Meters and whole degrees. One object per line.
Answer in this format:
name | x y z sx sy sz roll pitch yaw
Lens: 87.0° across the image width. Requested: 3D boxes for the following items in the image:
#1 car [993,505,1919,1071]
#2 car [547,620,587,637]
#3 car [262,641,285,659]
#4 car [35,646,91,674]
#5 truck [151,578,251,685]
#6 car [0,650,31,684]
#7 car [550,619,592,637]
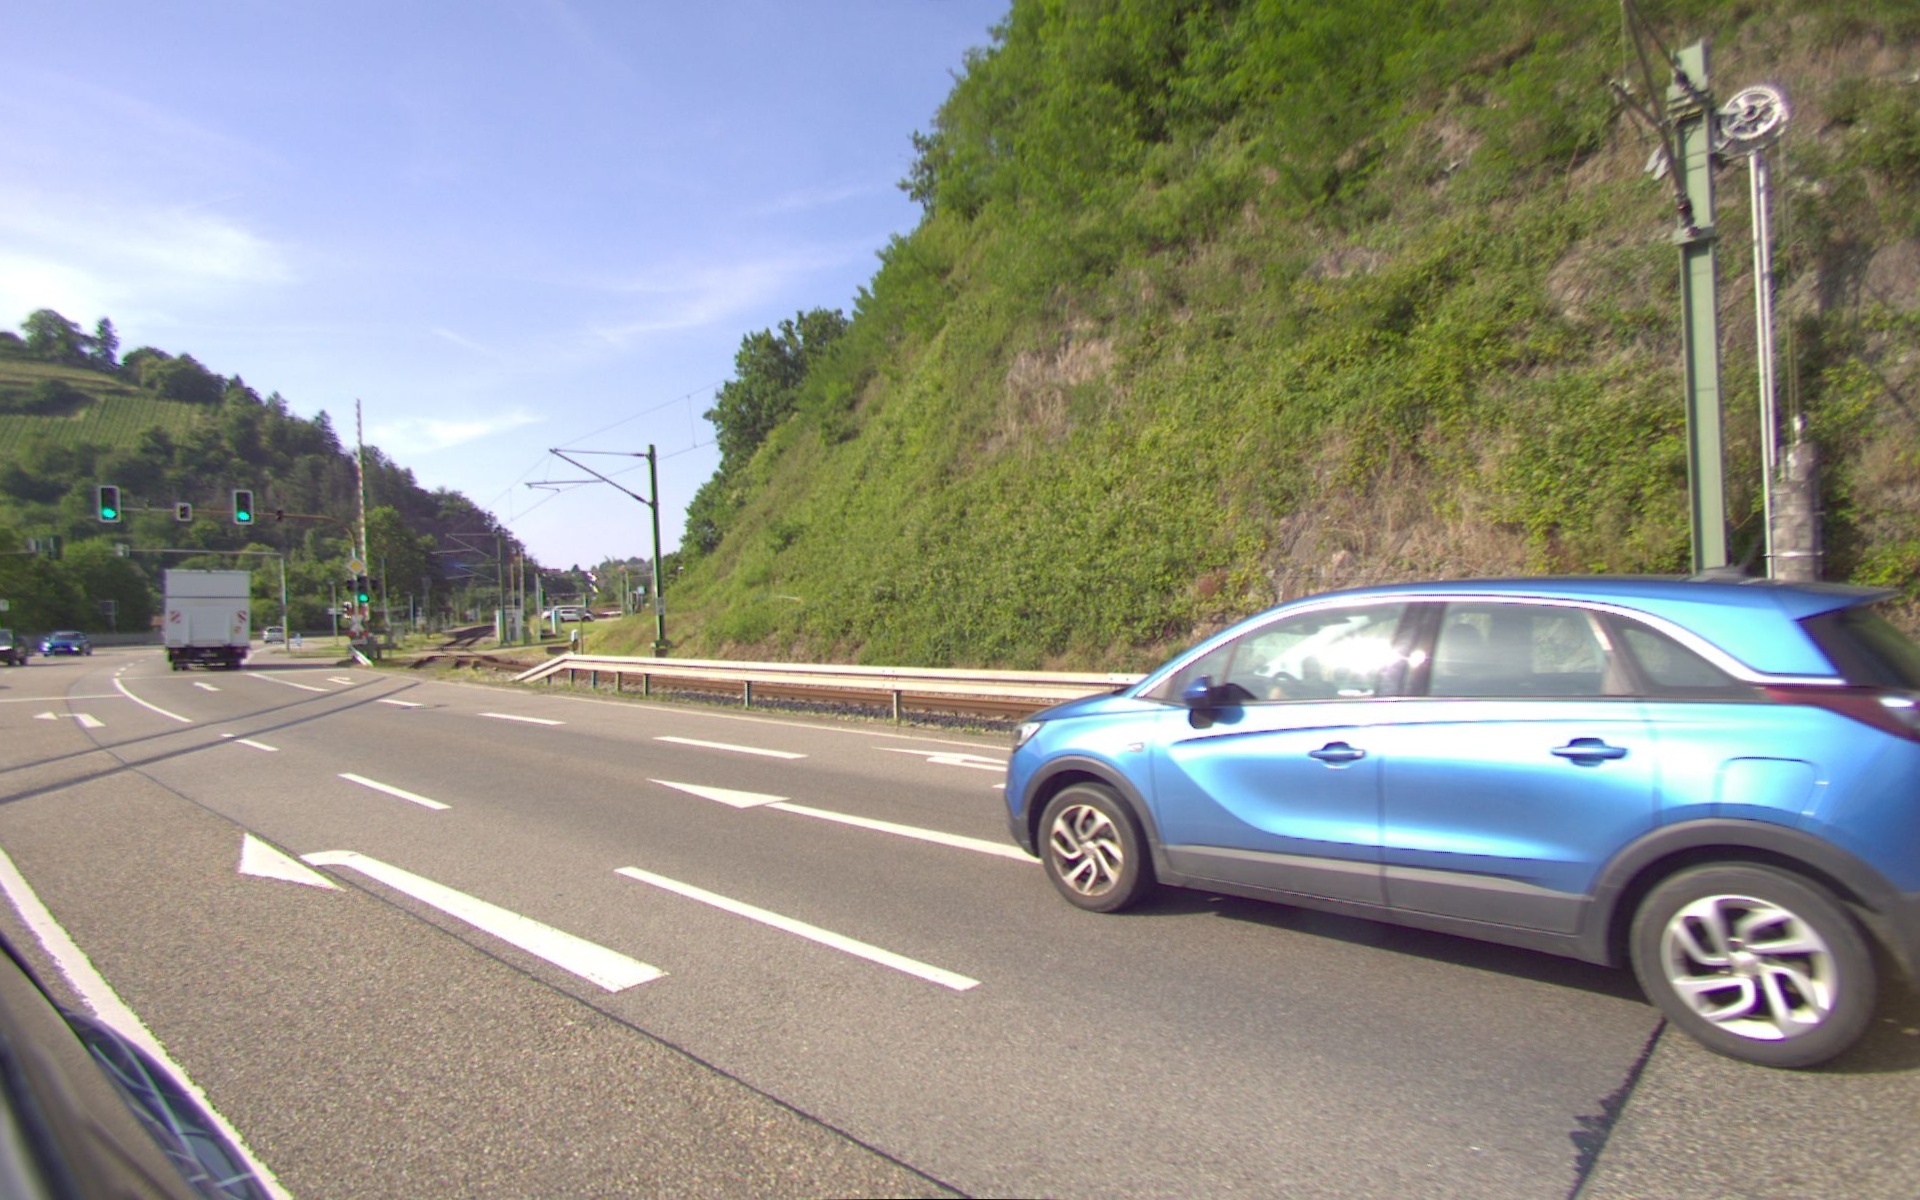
car | 2.263 0.584 4.411 4.135 1.582 1.699 -3 -3 43
car | -46.488 3.387 119.728 4.376 1.817 2.006 -1 -2 -21
car | -66.679 4.876 98.331 1.669 1.669 4.183 0 -2 -31
car | -53.262 3.553 60.157 1.837 1.503 4.011 0 -2 -31
truck | -30.445 1.284 40.435 2.860 3.828 8.909 0 -2 -39
car | -42.501 2.941 44.310 1.966 1.403 4.011 0 -2 -32
car | -39.912 2.850 103.895 3.930 1.763 1.646 -1 -2 -23
